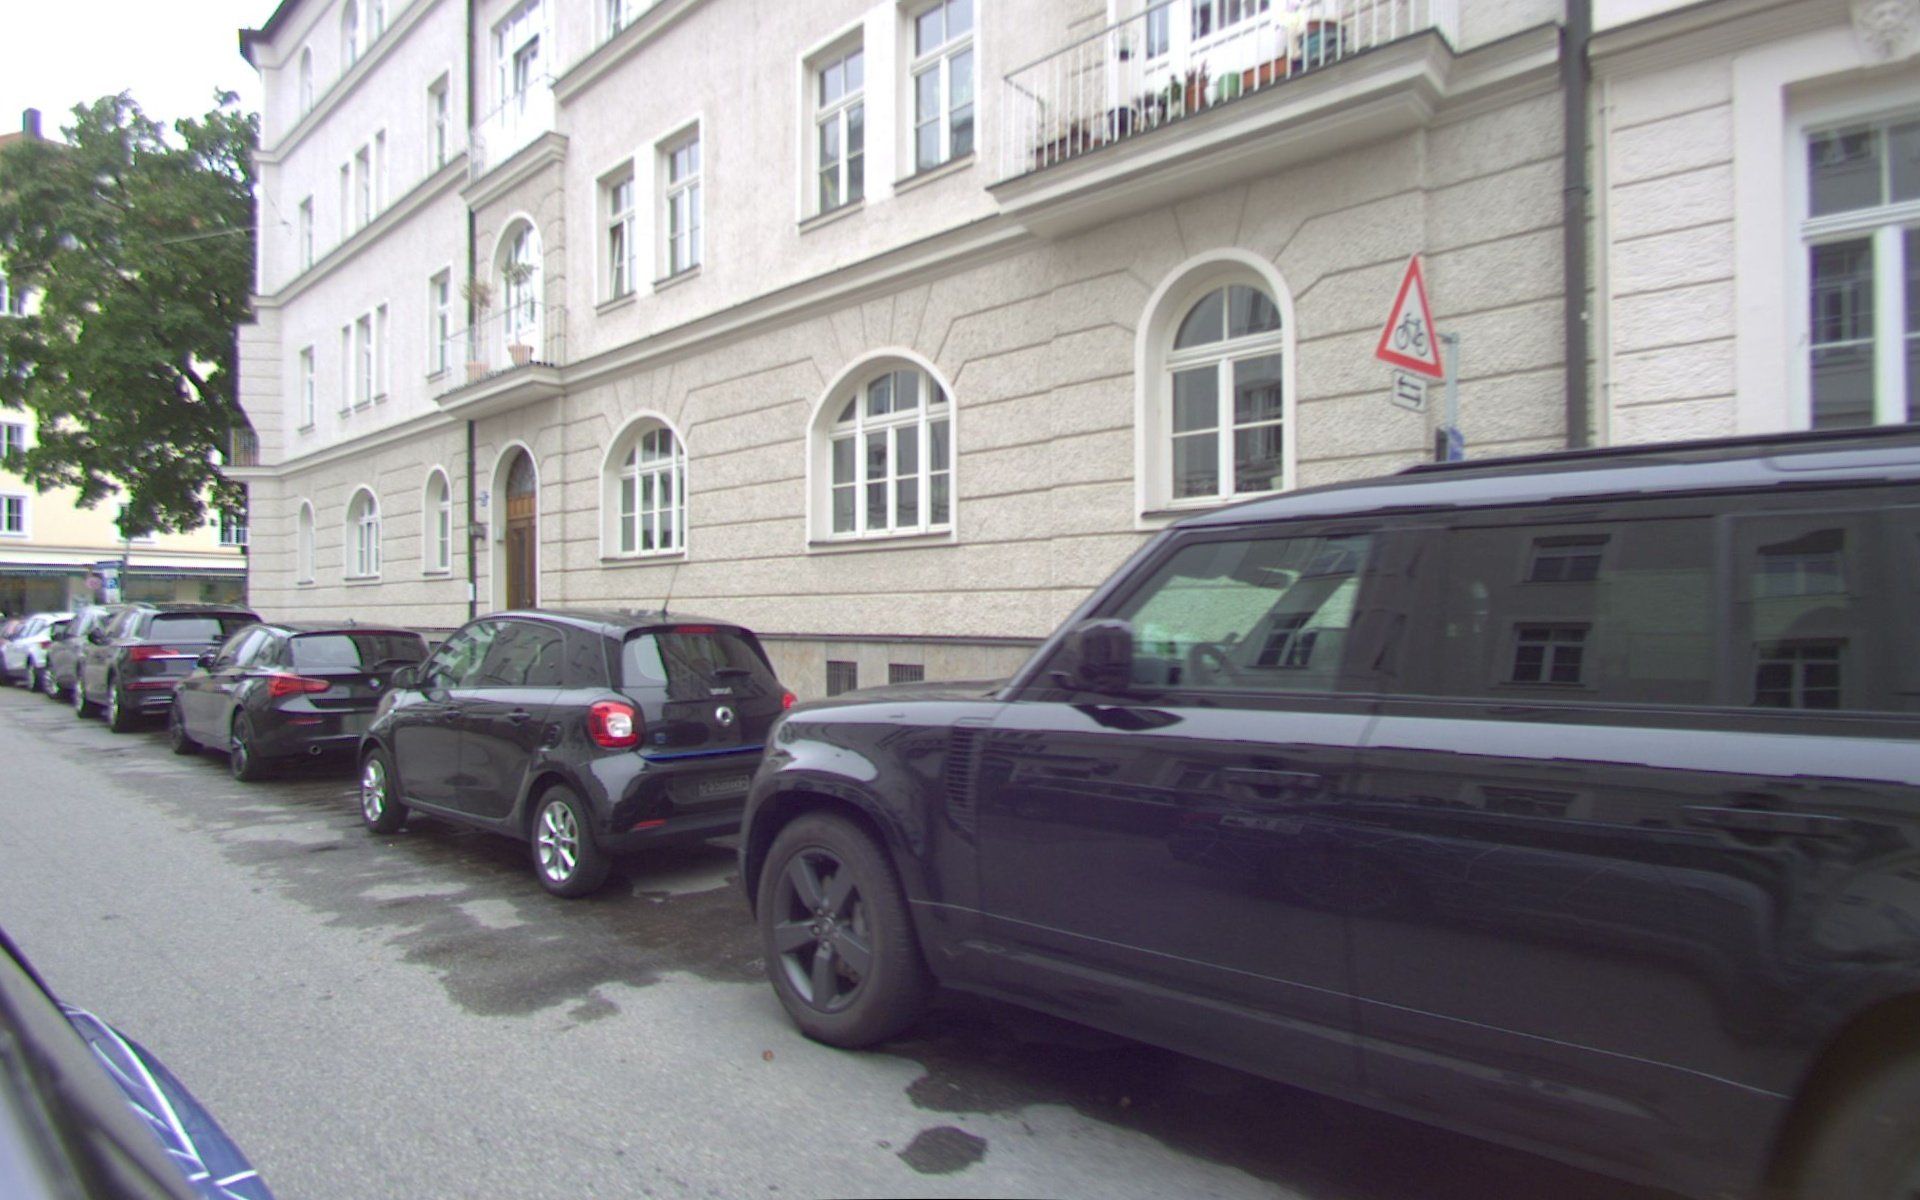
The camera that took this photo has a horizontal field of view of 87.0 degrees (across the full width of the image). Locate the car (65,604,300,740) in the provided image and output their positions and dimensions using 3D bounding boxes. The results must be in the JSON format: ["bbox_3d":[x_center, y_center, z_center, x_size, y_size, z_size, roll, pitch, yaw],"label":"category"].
[{"bbox_3d":[-10.957,0.895,14.148,4.432,1.611,1.856,-1,-1,42],"label":"car"}]

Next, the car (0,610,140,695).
[{"bbox_3d":[-18.585,1.011,20.870,3.944,1.580,1.679,0,-1,36],"label":"car"}]

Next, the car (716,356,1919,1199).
[{"bbox_3d":[1.543,0.593,2.884,4.758,1.909,1.818,-1,-3,39],"label":"car"}]

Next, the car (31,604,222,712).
[{"bbox_3d":[-14.775,0.947,17.873,4.208,1.690,1.818,-1,-1,39],"label":"car"}]

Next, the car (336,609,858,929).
[{"bbox_3d":[-2.483,0.848,6.588,3.528,1.525,1.600,-1,-2,39],"label":"car"}]

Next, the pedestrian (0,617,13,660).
[{"bbox_3d":[-37.148,1.484,38.856,0.907,1.623,0.778,0,-1,-20],"label":"pedestrian"}]

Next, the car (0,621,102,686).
[{"bbox_3d":[-22.165,1.229,24.218,4.473,1.403,1.664,-1,-2,39],"label":"car"}]

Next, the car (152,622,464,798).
[{"bbox_3d":[-6.723,0.951,10.256,4.091,1.417,1.637,-1,-2,42],"label":"car"}]
